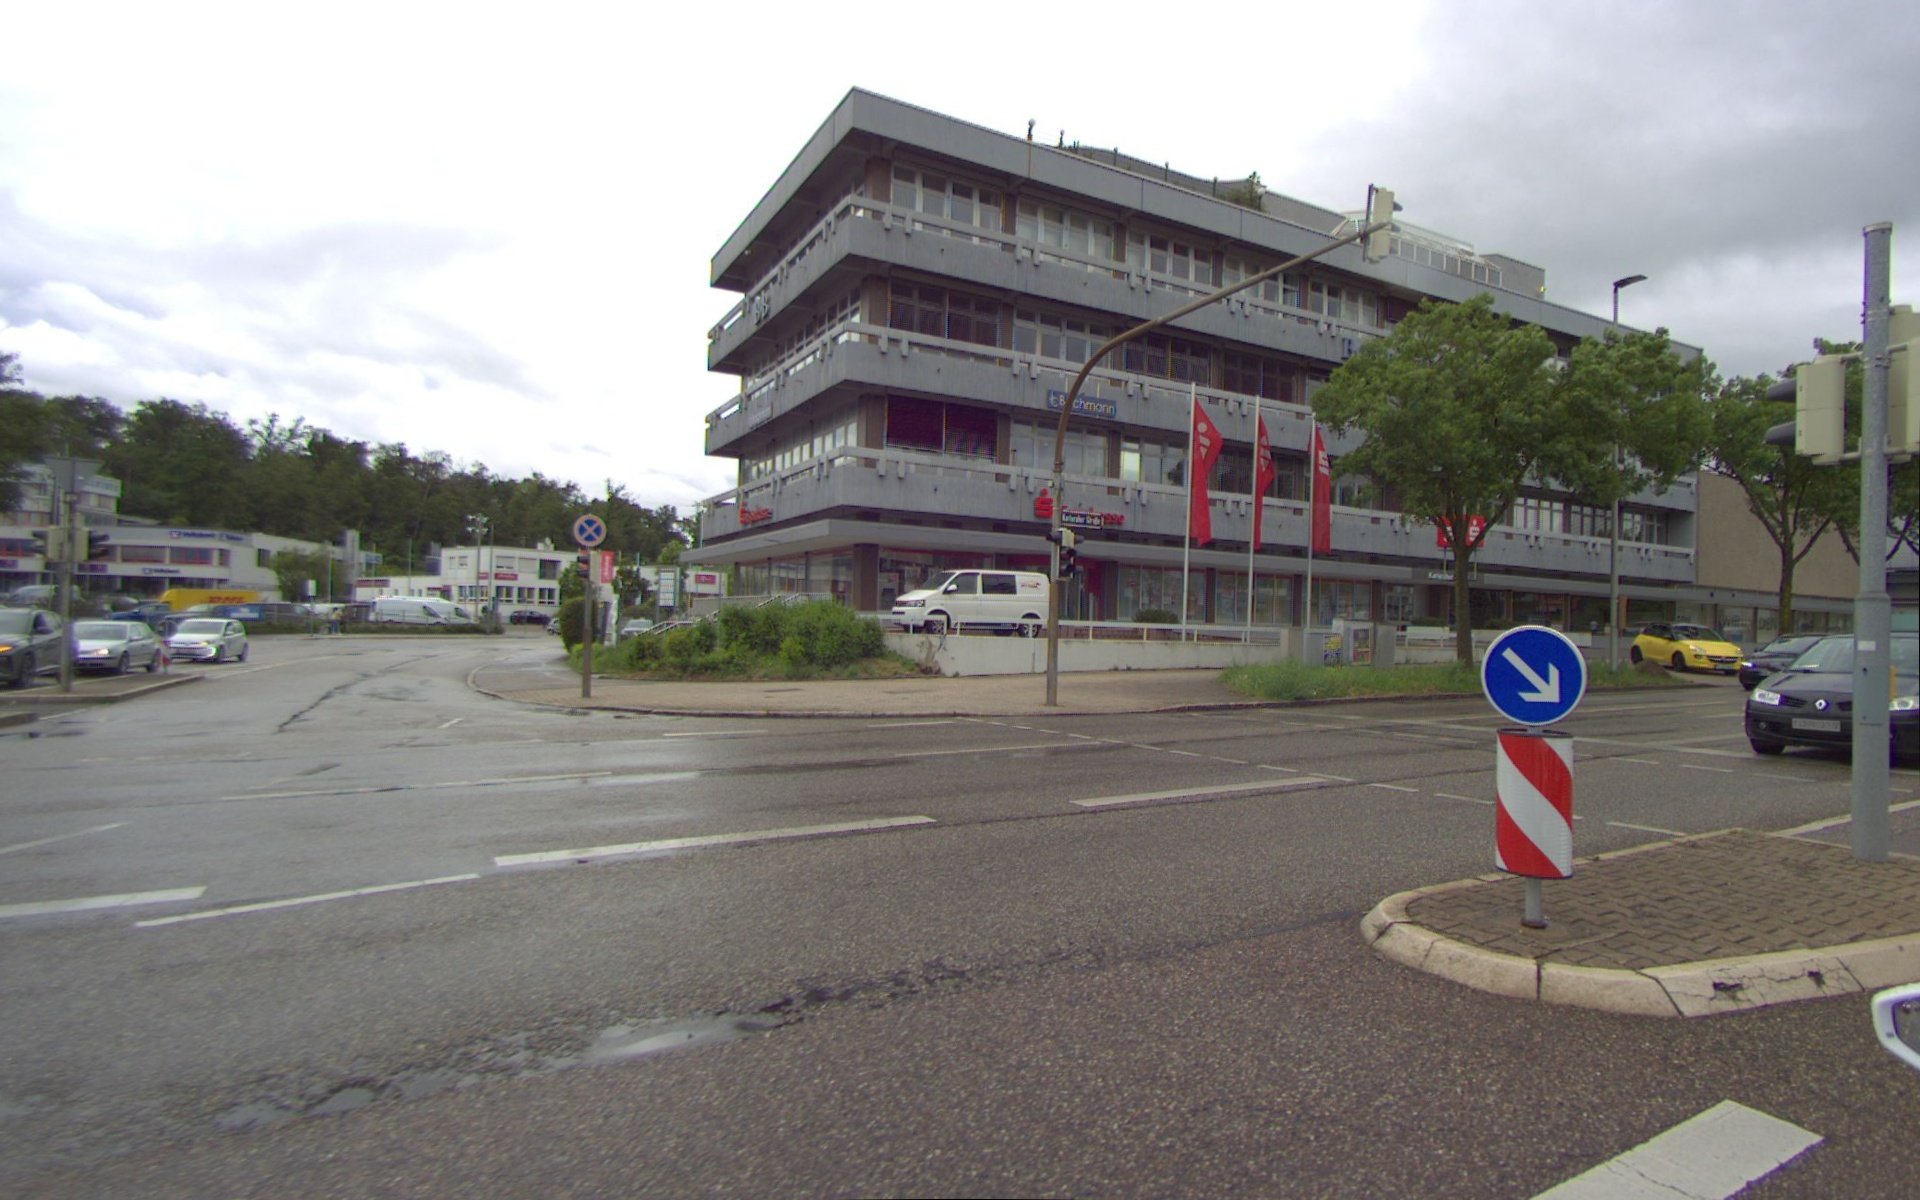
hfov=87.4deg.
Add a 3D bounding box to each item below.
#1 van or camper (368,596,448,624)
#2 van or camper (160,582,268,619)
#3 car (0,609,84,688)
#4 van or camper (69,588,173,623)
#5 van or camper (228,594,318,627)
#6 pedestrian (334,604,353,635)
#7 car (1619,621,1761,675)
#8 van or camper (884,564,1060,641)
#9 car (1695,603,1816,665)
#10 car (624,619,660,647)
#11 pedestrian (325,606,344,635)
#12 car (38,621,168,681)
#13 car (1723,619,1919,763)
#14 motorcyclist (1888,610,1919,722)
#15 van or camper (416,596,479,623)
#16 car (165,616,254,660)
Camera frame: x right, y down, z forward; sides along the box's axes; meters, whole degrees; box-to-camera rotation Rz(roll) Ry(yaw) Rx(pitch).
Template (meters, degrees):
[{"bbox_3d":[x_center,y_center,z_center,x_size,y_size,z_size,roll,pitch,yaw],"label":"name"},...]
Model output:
[{"bbox_3d":[-42.033,0.782,76.514,5.024,2.040,1.976,2,-1,-41],"label":"van or camper"},{"bbox_3d":[-50.508,0.058,68.180,5.657,2.387,1.924,1,-1,-31],"label":"van or camper"},{"bbox_3d":[-19.964,0.945,20.804,1.856,1.509,4.130,1,-1,-29],"label":"car"},{"bbox_3d":[-50.898,0.383,61.011,4.743,2.040,1.956,2,-1,-42],"label":"van or camper"},{"bbox_3d":[-44.352,0.709,64.996,4.528,2.072,1.840,1,-1,-26],"label":"van or camper"},{"bbox_3d":[-39.026,1.226,63.580,0.731,1.911,0.724,0,-1,5],"label":"pedestrian"},{"bbox_3d":[23.154,1.485,32.053,1.861,1.572,4.002,0,-1,5],"label":"car"},{"bbox_3d":[0.377,0.095,29.346,4.732,1.993,1.984,3,0,-30],"label":"van or camper"},{"bbox_3d":[28.462,1.221,35.947,3.952,2.040,1.985,3,0,-29],"label":"car"},{"bbox_3d":[-17.745,1.823,55.944,1.769,1.483,3.983,1,-1,-19],"label":"car"},{"bbox_3d":[-39.112,1.264,62.797,0.849,1.803,0.532,0,-1,5],"label":"pedestrian"},{"bbox_3d":[-22.500,1.301,26.519,1.856,1.418,3.671,1,-1,-29],"label":"car"},{"bbox_3d":[10.658,0.956,11.646,3.957,1.395,1.672,2,-1,-33],"label":"car"},{"bbox_3d":[14.067,0.942,14.410,1.253,1.580,0.802,1,0,-31],"label":"motorcyclist"},{"bbox_3d":[-41.387,0.800,81.127,4.212,2.040,1.801,2,0,-43],"label":"van or camper"},{"bbox_3d":[-25.792,1.282,34.648,1.480,1.418,3.373,1,-1,-19],"label":"car"}]
